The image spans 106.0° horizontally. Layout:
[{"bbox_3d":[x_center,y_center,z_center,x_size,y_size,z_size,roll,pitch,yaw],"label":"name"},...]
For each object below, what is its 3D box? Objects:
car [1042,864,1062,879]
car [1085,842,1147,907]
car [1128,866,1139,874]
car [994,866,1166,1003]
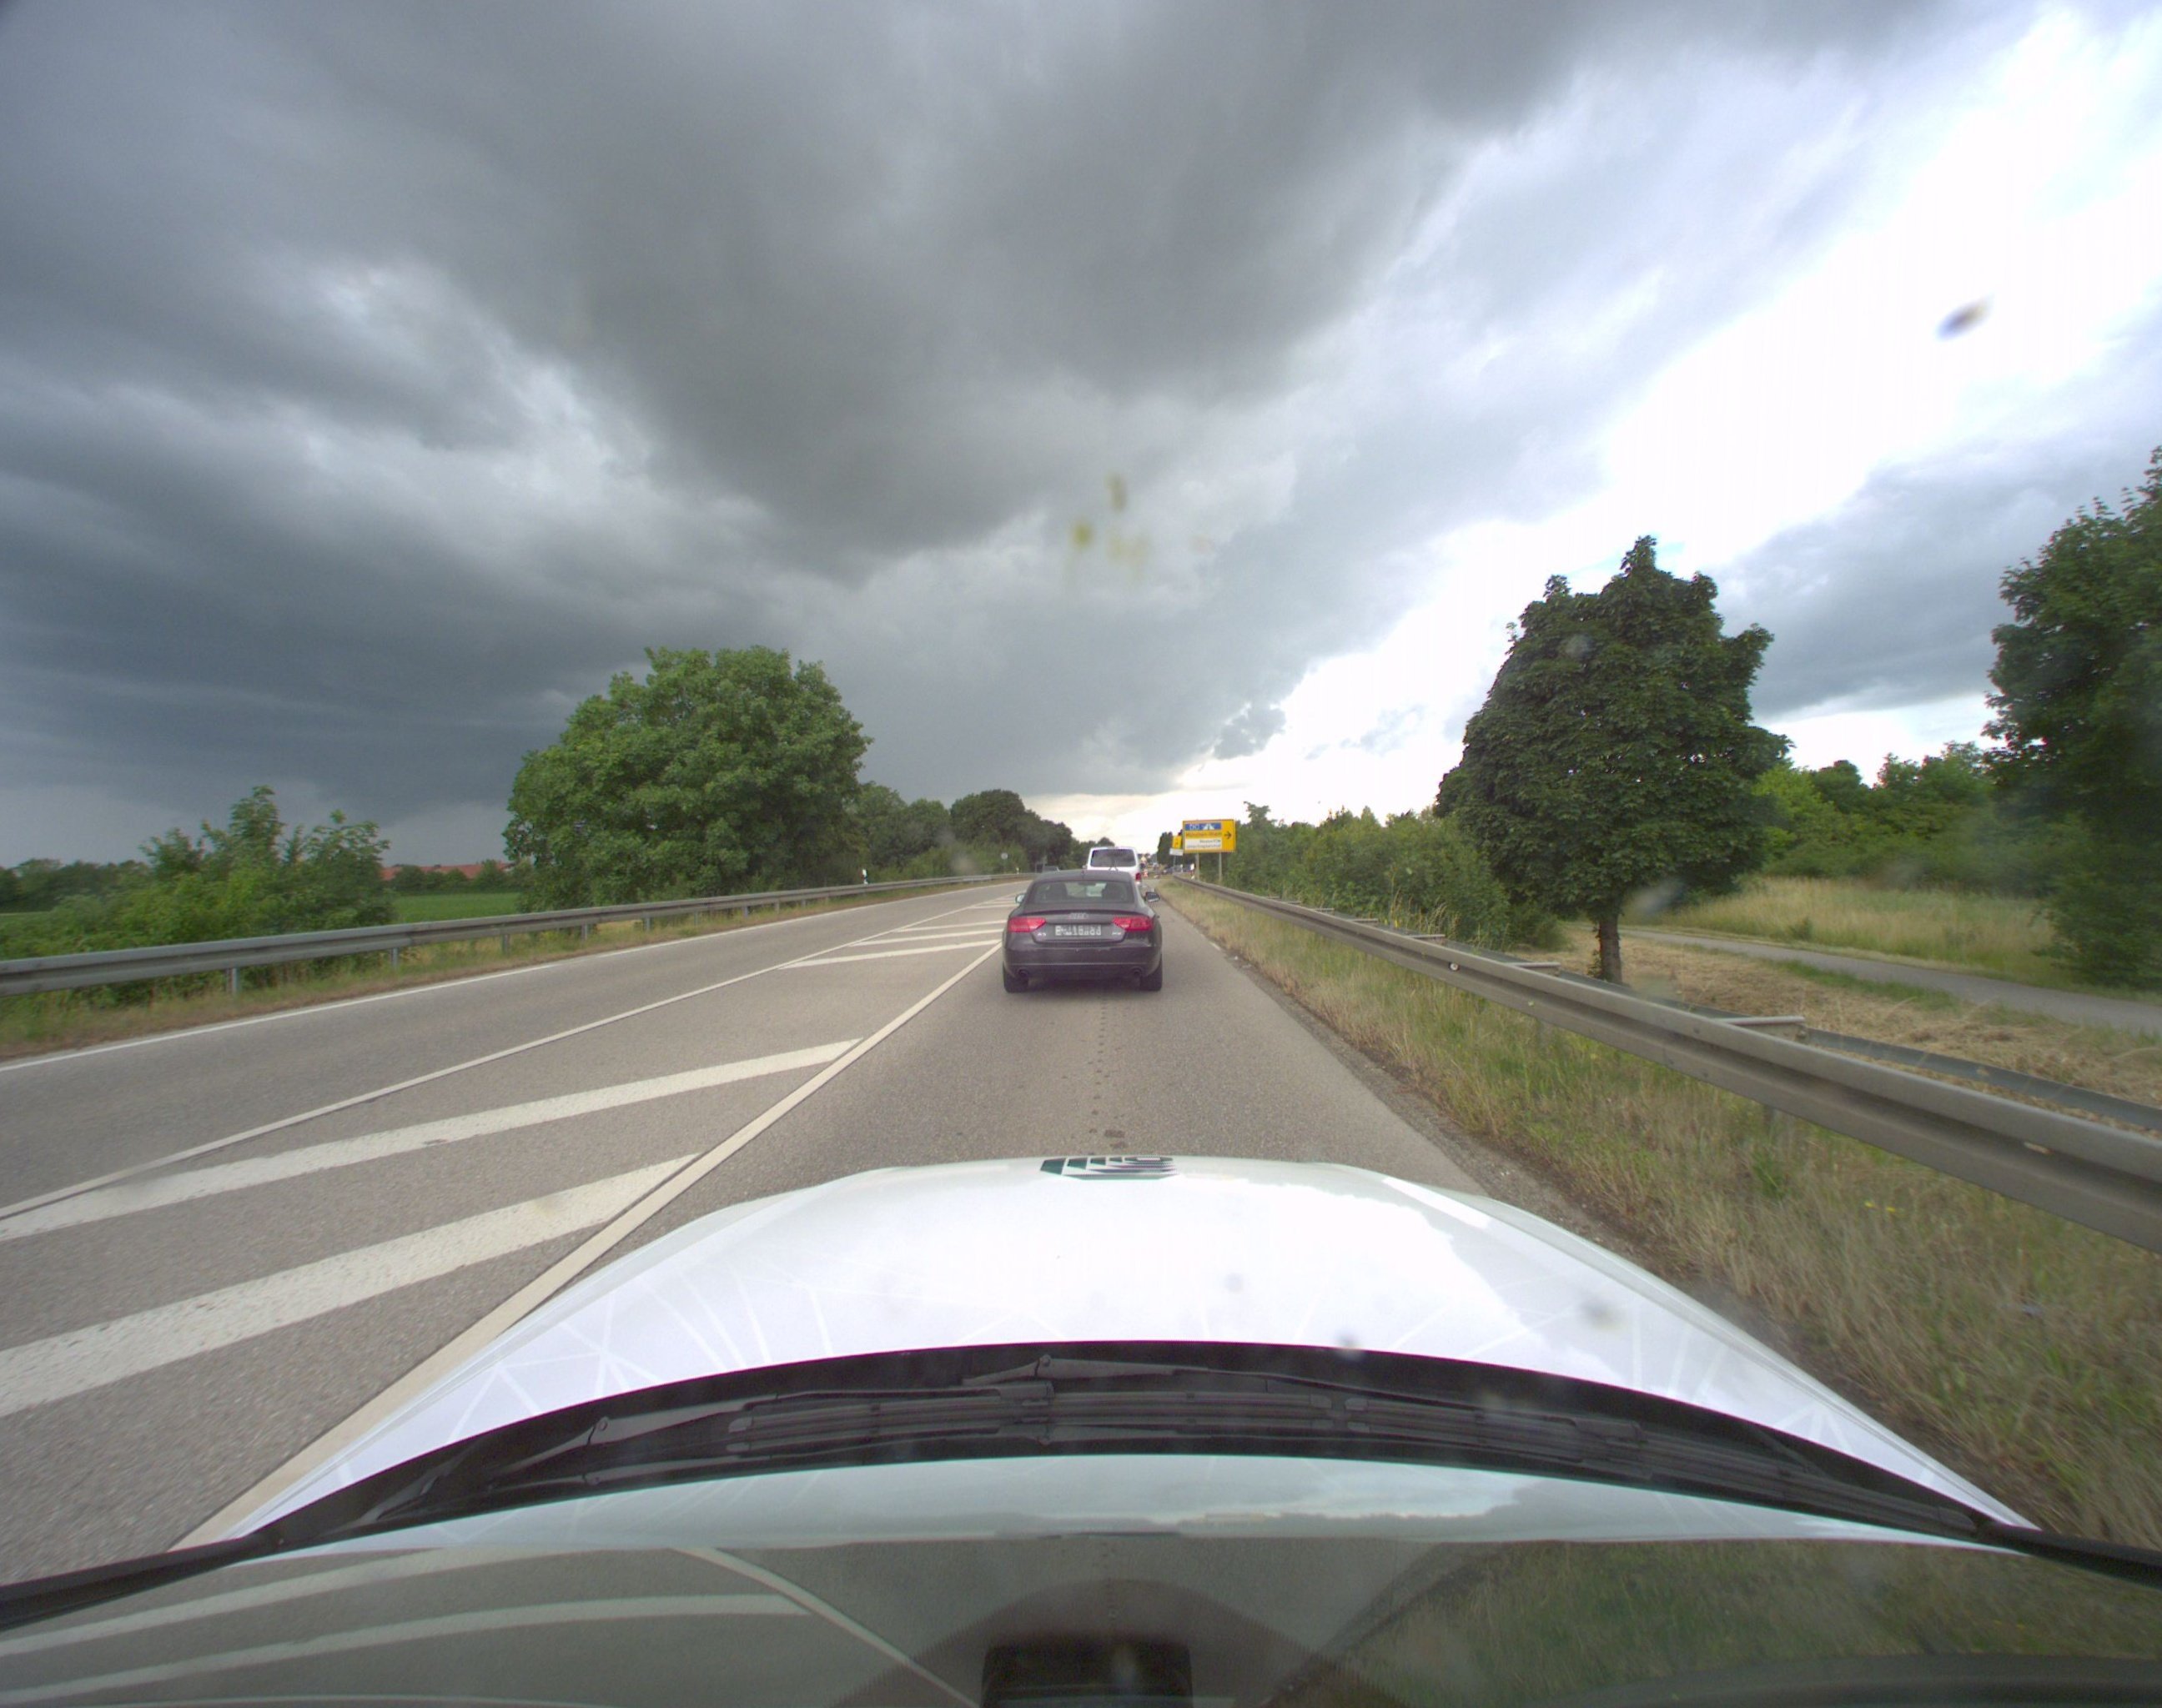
[{"bbox_3d":[-2.924,1.777,82.033,1.616,1.379,4.514,-1,-1,2],"label":"car"},{"bbox_3d":[1.163,0.647,27.430,1.903,2.014,4.002,0,-1,2],"label":"car"},{"bbox_3d":[11.797,3.614,182.562,2.197,1.582,4.381,0,-1,2],"label":"car"},{"bbox_3d":[0.045,0.861,10.158,1.773,1.399,3.337,-1,-1,2],"label":"car"}]
